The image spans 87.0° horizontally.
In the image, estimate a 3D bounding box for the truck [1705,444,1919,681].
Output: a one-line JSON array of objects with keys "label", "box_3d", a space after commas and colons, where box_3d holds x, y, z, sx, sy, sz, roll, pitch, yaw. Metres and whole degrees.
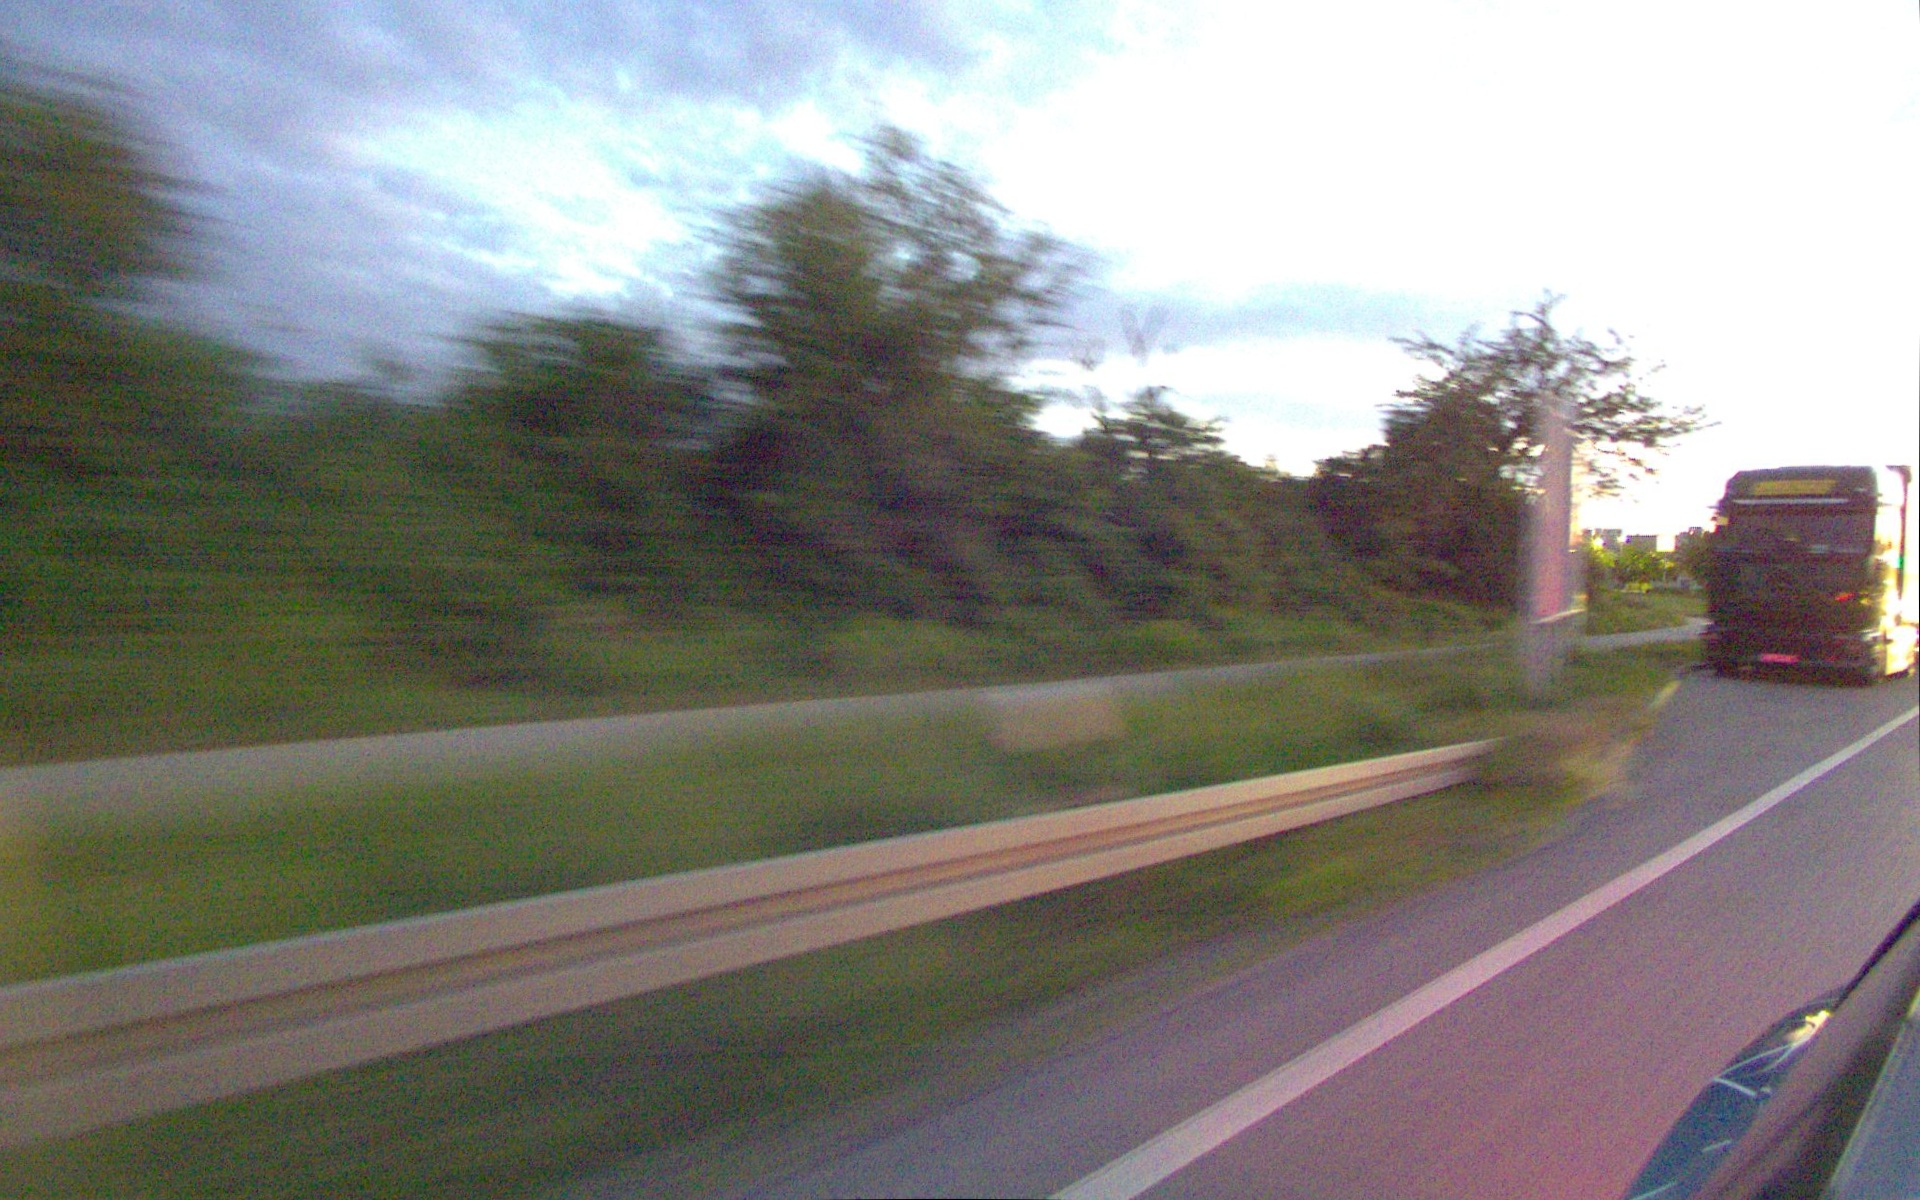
[{"label": "truck", "box_3d": [16.404, -0.659, 19.141, 5.400, 3.847, 2.490, -1, 1, -39]}]

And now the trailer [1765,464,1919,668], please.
[{"label": "trailer", "box_3d": [22.127, -0.702, 24.036, 12.450, 3.859, 2.473, -1, 1, -41]}]
